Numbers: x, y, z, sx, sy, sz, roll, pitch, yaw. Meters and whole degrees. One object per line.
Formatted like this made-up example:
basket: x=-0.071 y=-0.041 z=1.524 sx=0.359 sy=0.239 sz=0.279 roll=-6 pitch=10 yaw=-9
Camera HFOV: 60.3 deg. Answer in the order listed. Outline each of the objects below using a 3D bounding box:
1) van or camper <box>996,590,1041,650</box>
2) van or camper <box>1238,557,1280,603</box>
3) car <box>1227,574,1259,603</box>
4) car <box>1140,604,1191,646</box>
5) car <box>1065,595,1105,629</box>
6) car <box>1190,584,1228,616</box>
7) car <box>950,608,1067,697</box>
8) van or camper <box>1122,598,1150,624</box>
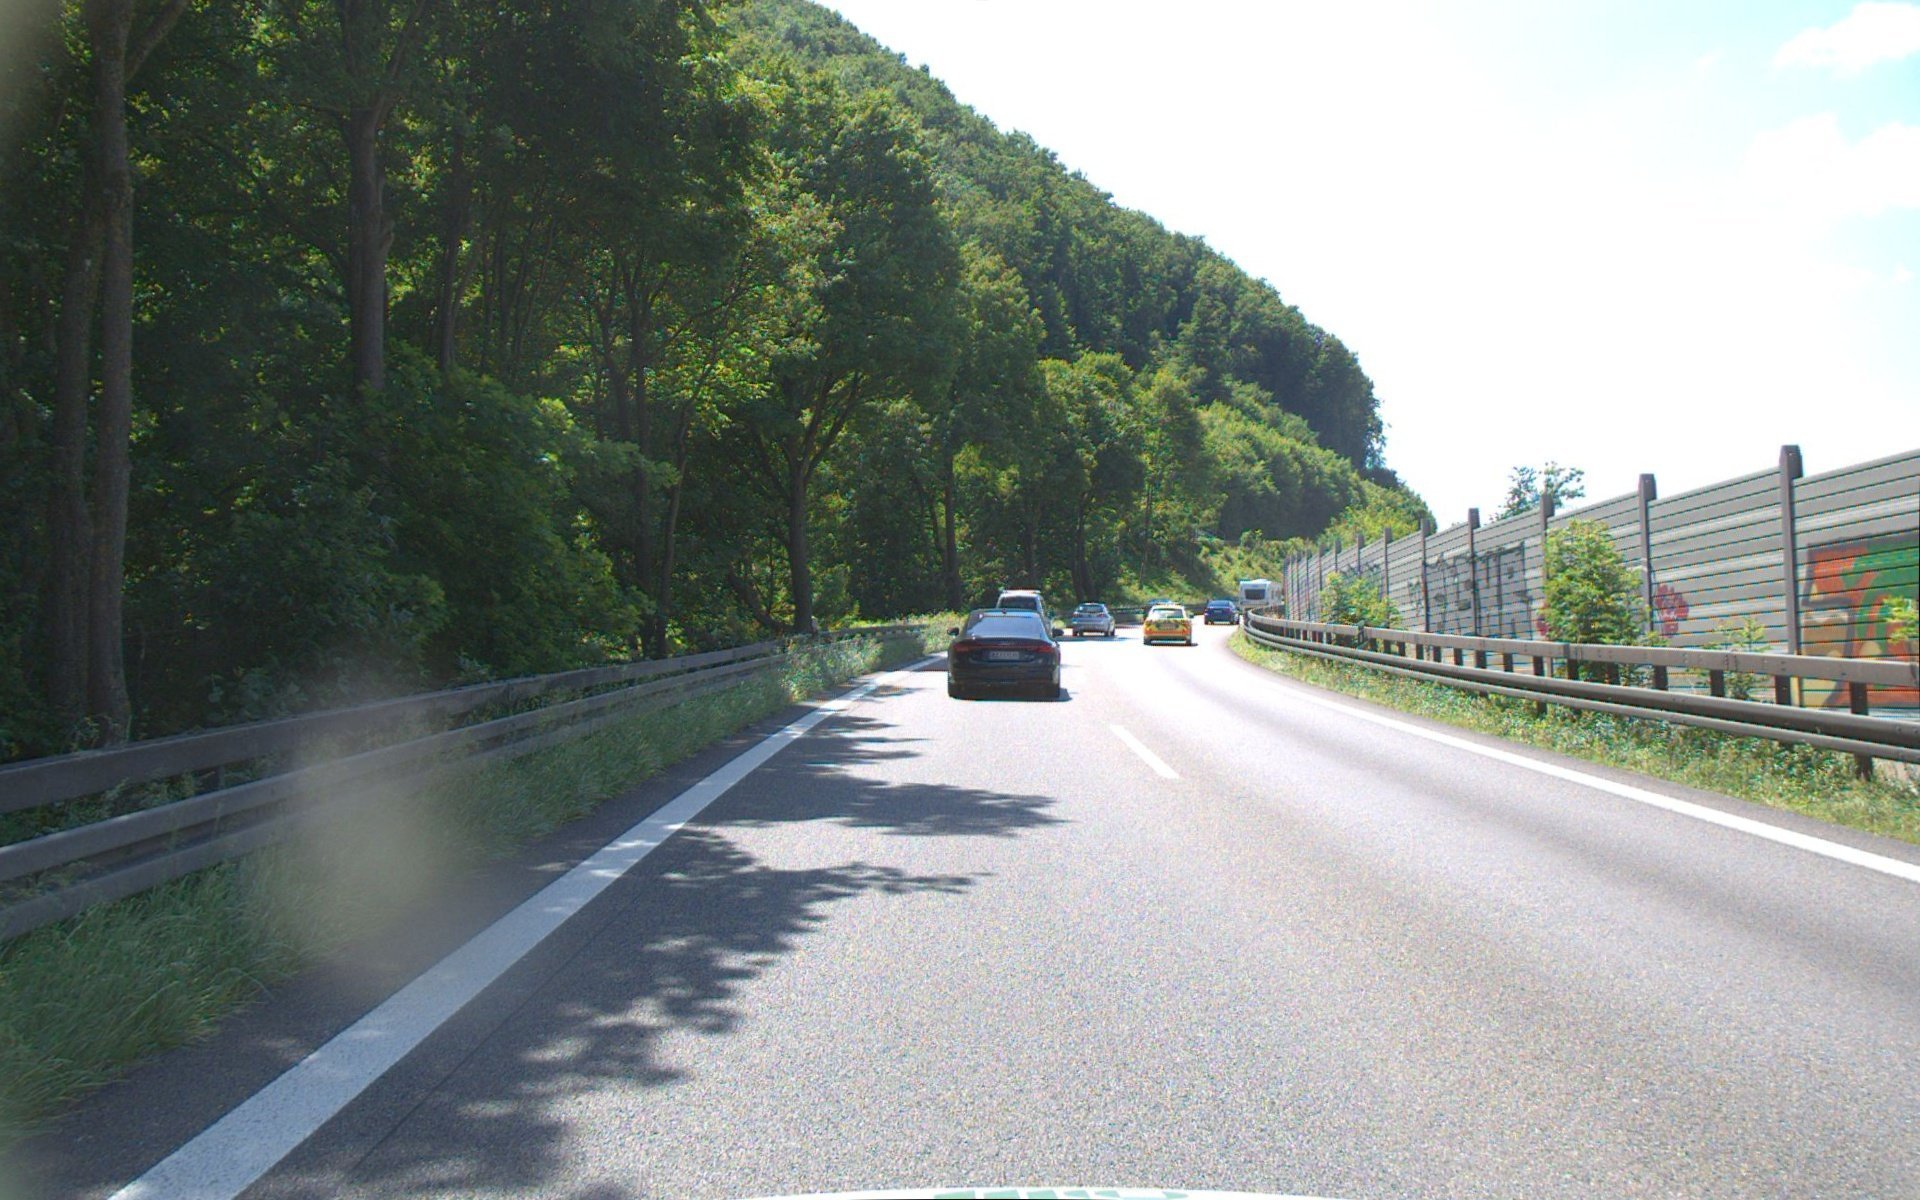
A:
van or camper: x=1.907 y=0.640 z=53.484 sx=1.362 sy=1.848 sz=4.001 roll=-1 pitch=-1 yaw=3
van or camper: x=21.780 y=-1.464 z=120.285 sx=2.404 sy=2.967 sz=6.132 roll=-7 pitch=-1 yaw=13
car: x=22.803 y=-0.967 z=133.206 sx=1.952 sy=2.047 sz=4.003 roll=-7 pitch=-1 yaw=15
car: x=7.730 y=0.944 z=62.115 sx=1.823 sy=1.514 sz=4.003 roll=-1 pitch=-1 yaw=8
car: x=5.548 y=0.553 z=73.001 sx=1.710 sy=1.456 sz=4.002 roll=-1 pitch=-1 yaw=5
car: x=15.191 y=0.009 z=101.043 sx=1.737 sy=1.664 sz=4.002 roll=-7 pitch=-1 yaw=3
car: x=0.755 y=0.855 z=28.025 sx=1.800 sy=1.373 sz=3.999 roll=1 pitch=-1 yaw=-1
van or camper: x=11.220 y=0.709 z=105.753 sx=1.525 sy=1.561 sz=3.506 roll=-2 pitch=0 yaw=3
